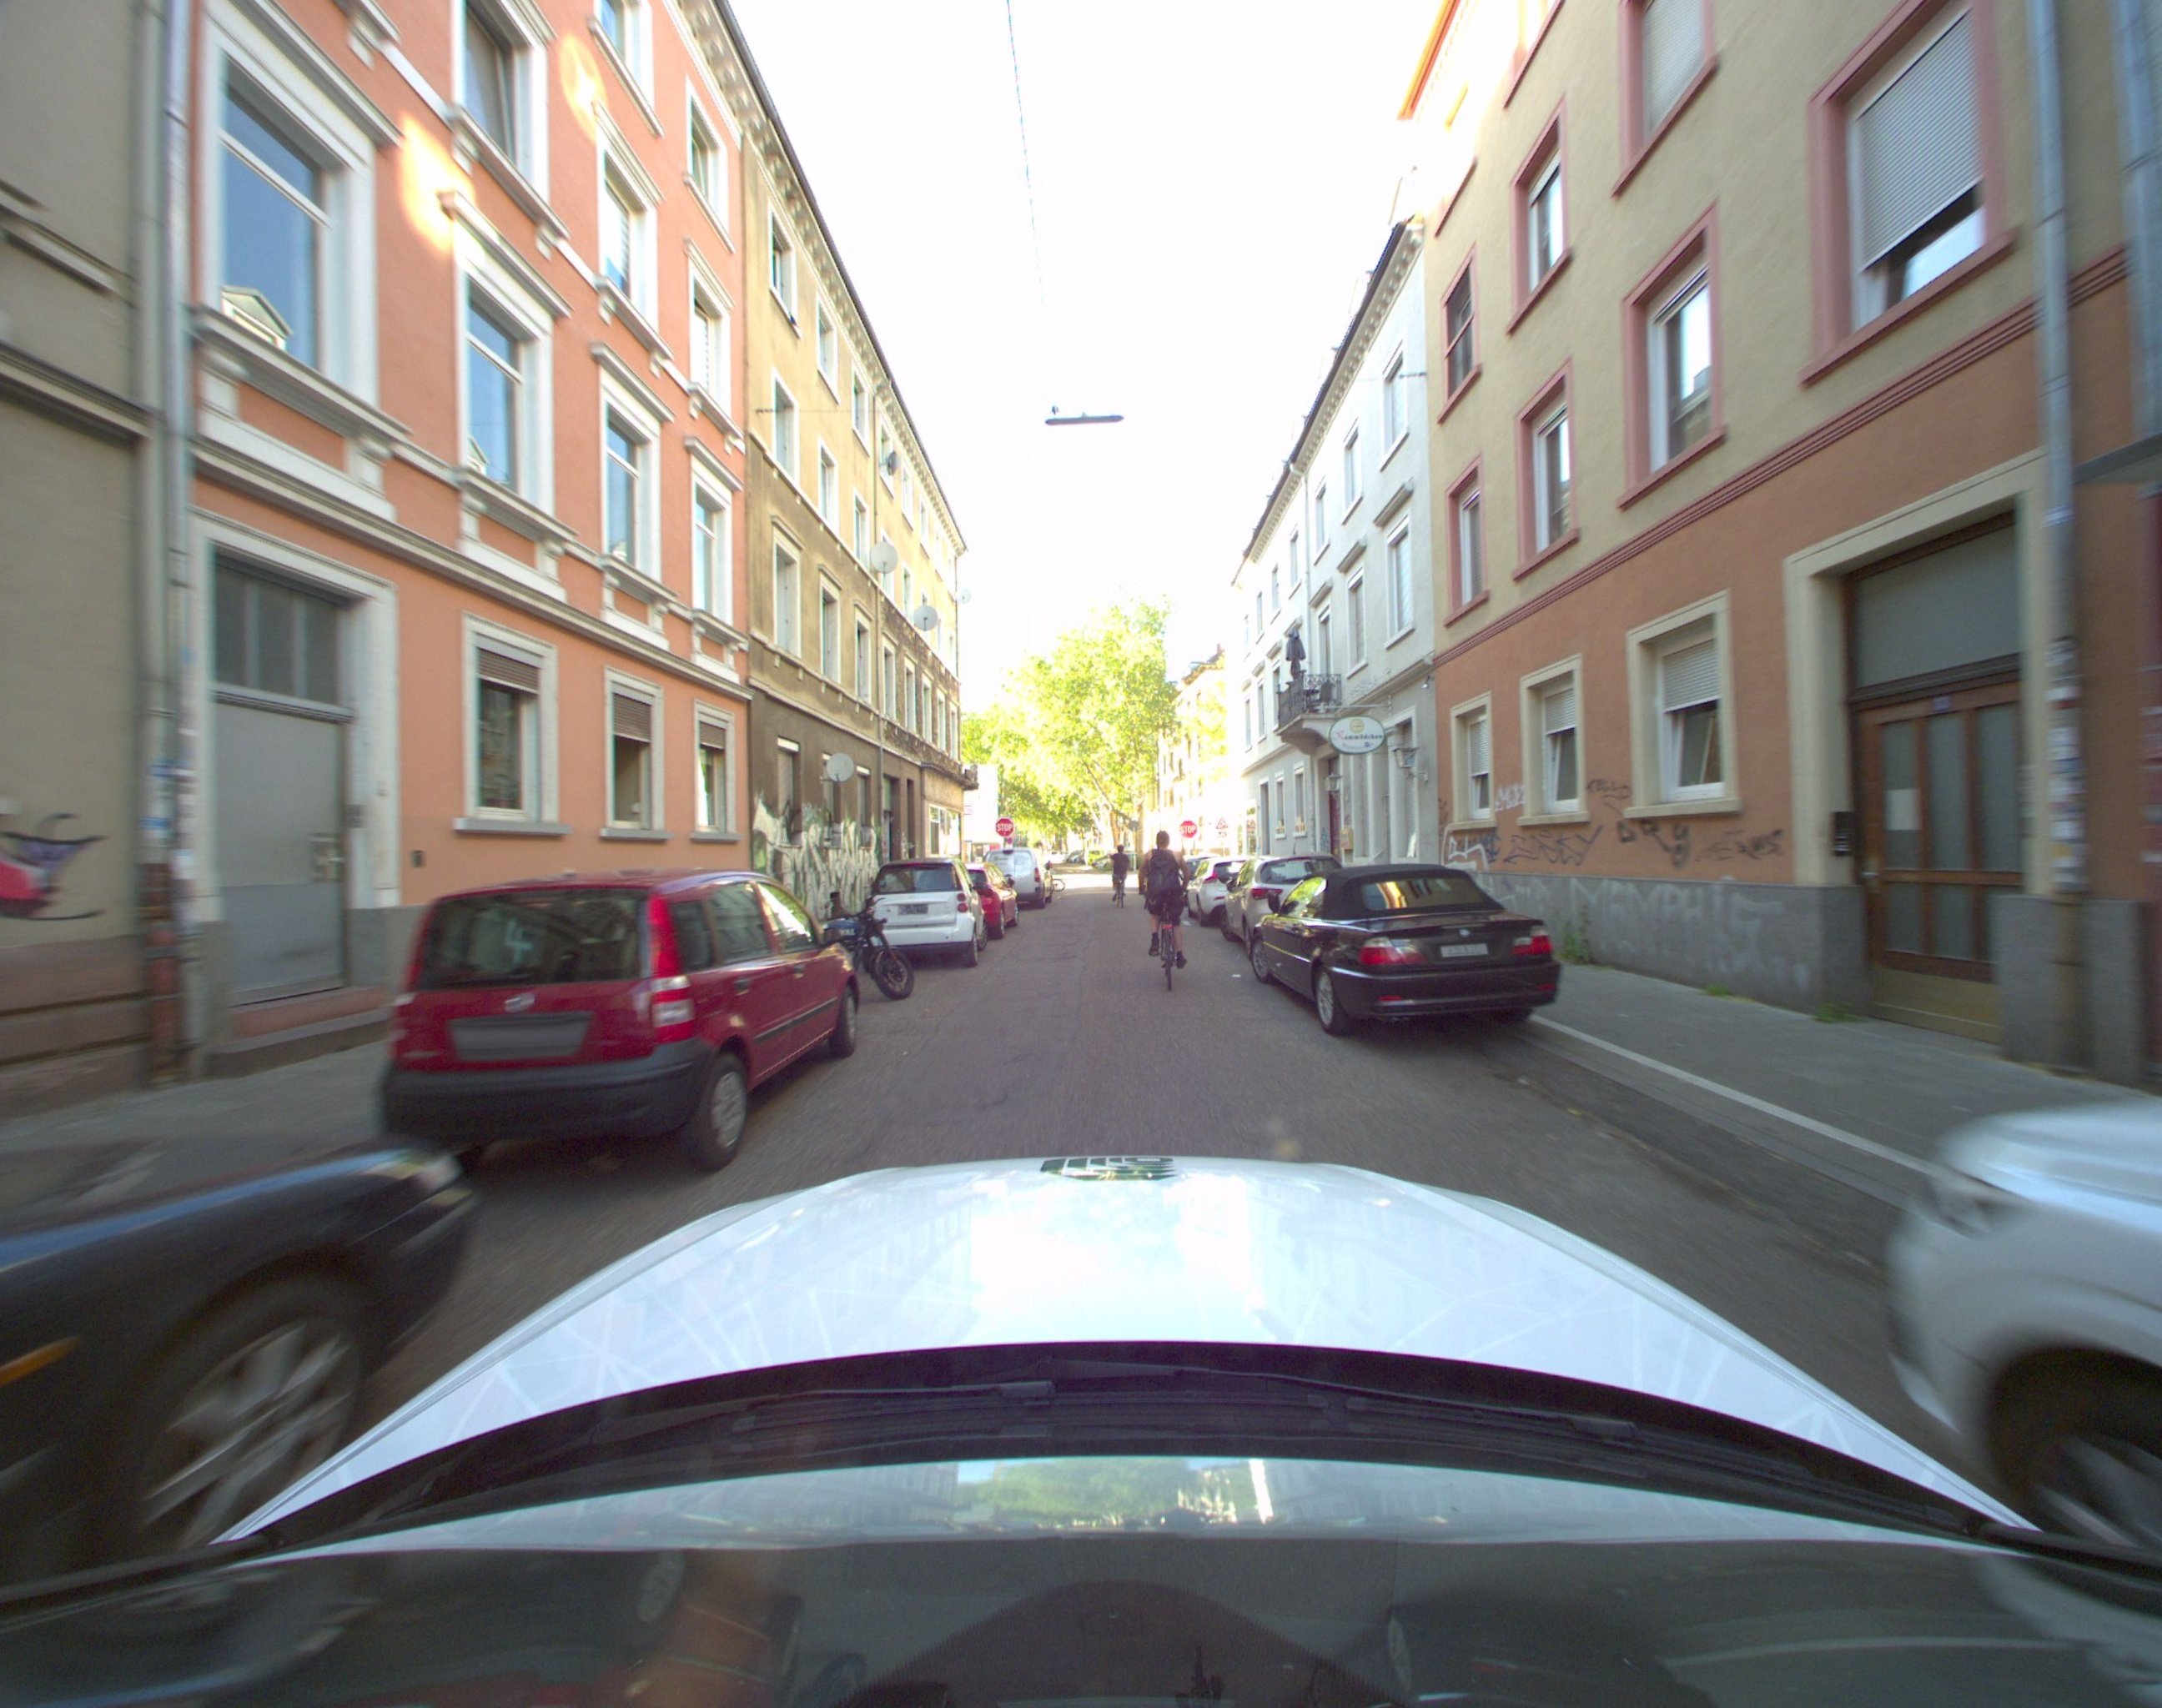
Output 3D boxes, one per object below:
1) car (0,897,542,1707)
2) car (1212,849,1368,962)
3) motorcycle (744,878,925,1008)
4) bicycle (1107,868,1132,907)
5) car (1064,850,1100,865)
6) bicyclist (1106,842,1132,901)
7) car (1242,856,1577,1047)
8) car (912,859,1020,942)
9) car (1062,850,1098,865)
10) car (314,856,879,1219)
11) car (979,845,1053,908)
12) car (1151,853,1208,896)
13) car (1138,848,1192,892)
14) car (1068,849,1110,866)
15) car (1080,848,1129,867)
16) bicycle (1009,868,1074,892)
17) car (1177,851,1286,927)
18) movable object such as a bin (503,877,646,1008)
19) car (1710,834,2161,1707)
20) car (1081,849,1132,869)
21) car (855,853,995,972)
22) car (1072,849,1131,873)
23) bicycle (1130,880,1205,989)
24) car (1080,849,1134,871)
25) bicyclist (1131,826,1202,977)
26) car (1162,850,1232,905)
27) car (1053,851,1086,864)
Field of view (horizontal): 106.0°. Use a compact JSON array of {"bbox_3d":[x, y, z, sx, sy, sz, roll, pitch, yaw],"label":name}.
[{"bbox_3d":[-2.668,0.878,0.473,1.700,1.414,4.304,-2,0,2],"label":"car"},{"bbox_3d":[3.143,0.694,12.967,1.586,1.492,3.878,-2,0,2],"label":"car"},{"bbox_3d":[-2.658,0.933,8.955,1.797,1.256,0.707,-2,0,-13],"label":"motorcycle"},{"bbox_3d":[1.098,0.946,23.546,0.661,1.037,1.959,-2,0,2],"label":"bicycle"},{"bbox_3d":[0.092,0.437,102.203,4.459,1.696,1.864,-2,0,-3],"label":"car"},{"bbox_3d":[1.090,0.493,23.502,0.667,1.658,0.877,-2,0,2],"label":"bicyclist"},{"bbox_3d":[2.815,0.719,7.991,1.652,1.338,3.999,-2,0,0],"label":"car"},{"bbox_3d":[-2.200,0.851,16.466,1.547,1.399,3.668,-2,0,1],"label":"car"},{"bbox_3d":[-0.167,0.451,105.381,4.459,1.696,1.864,-2,0,-3],"label":"car"},{"bbox_3d":[-2.578,0.818,5.328,1.600,1.530,3.378,-3,0,0],"label":"car"},{"bbox_3d":[-1.900,0.635,24.903,1.781,1.737,3.877,-2,0,1],"label":"car"},{"bbox_3d":[3.705,0.732,31.106,1.681,1.471,3.574,-2,0,0],"label":"car"},{"bbox_3d":[3.631,0.647,35.935,1.887,1.769,3.999,-2,0,-1],"label":"car"},{"bbox_3d":[0.899,0.376,89.180,4.459,1.696,1.864,-2,0,-3],"label":"car"},{"bbox_3d":[2.200,0.320,76.295,4.459,1.696,1.864,-2,0,-3],"label":"car"},{"bbox_3d":[-1.649,1.094,34.269,2.708,0.892,0.618,-2,0,-1],"label":"bicycle"},{"bbox_3d":[3.277,0.707,18.425,1.705,1.470,3.999,-2,0,0],"label":"car"},{"bbox_3d":[-4.945,0.844,8.004,0.831,1.126,0.716,-6,0,4],"label":"movable object such as a bin"},{"bbox_3d":[2.647,0.694,0.261,1.726,1.470,4.019,-2,0,-1],"label":"car"},{"bbox_3d":[2.248,0.462,73.809,4.459,1.696,1.864,-2,0,-3],"label":"car"},{"bbox_3d":[-2.280,0.788,12.701,1.540,1.550,3.463,-2,0,-1],"label":"car"},{"bbox_3d":[1.581,0.537,64.282,4.459,1.759,1.864,-2,0,-3],"label":"car"},{"bbox_3d":[0.988,0.896,9.752,0.737,1.100,2.042,0,0,1],"label":"bicycle"},{"bbox_3d":[2.173,0.464,69.060,4.459,1.696,1.864,-2,0,-3],"label":"car"},{"bbox_3d":[0.987,0.528,9.612,0.737,1.679,1.117,0,0,1],"label":"bicyclist"},{"bbox_3d":[3.572,0.686,25.531,1.647,1.530,3.574,-2,0,0],"label":"car"},{"bbox_3d":[-1.575,0.482,112.103,4.459,1.696,1.864,-2,0,-3],"label":"car"}]
